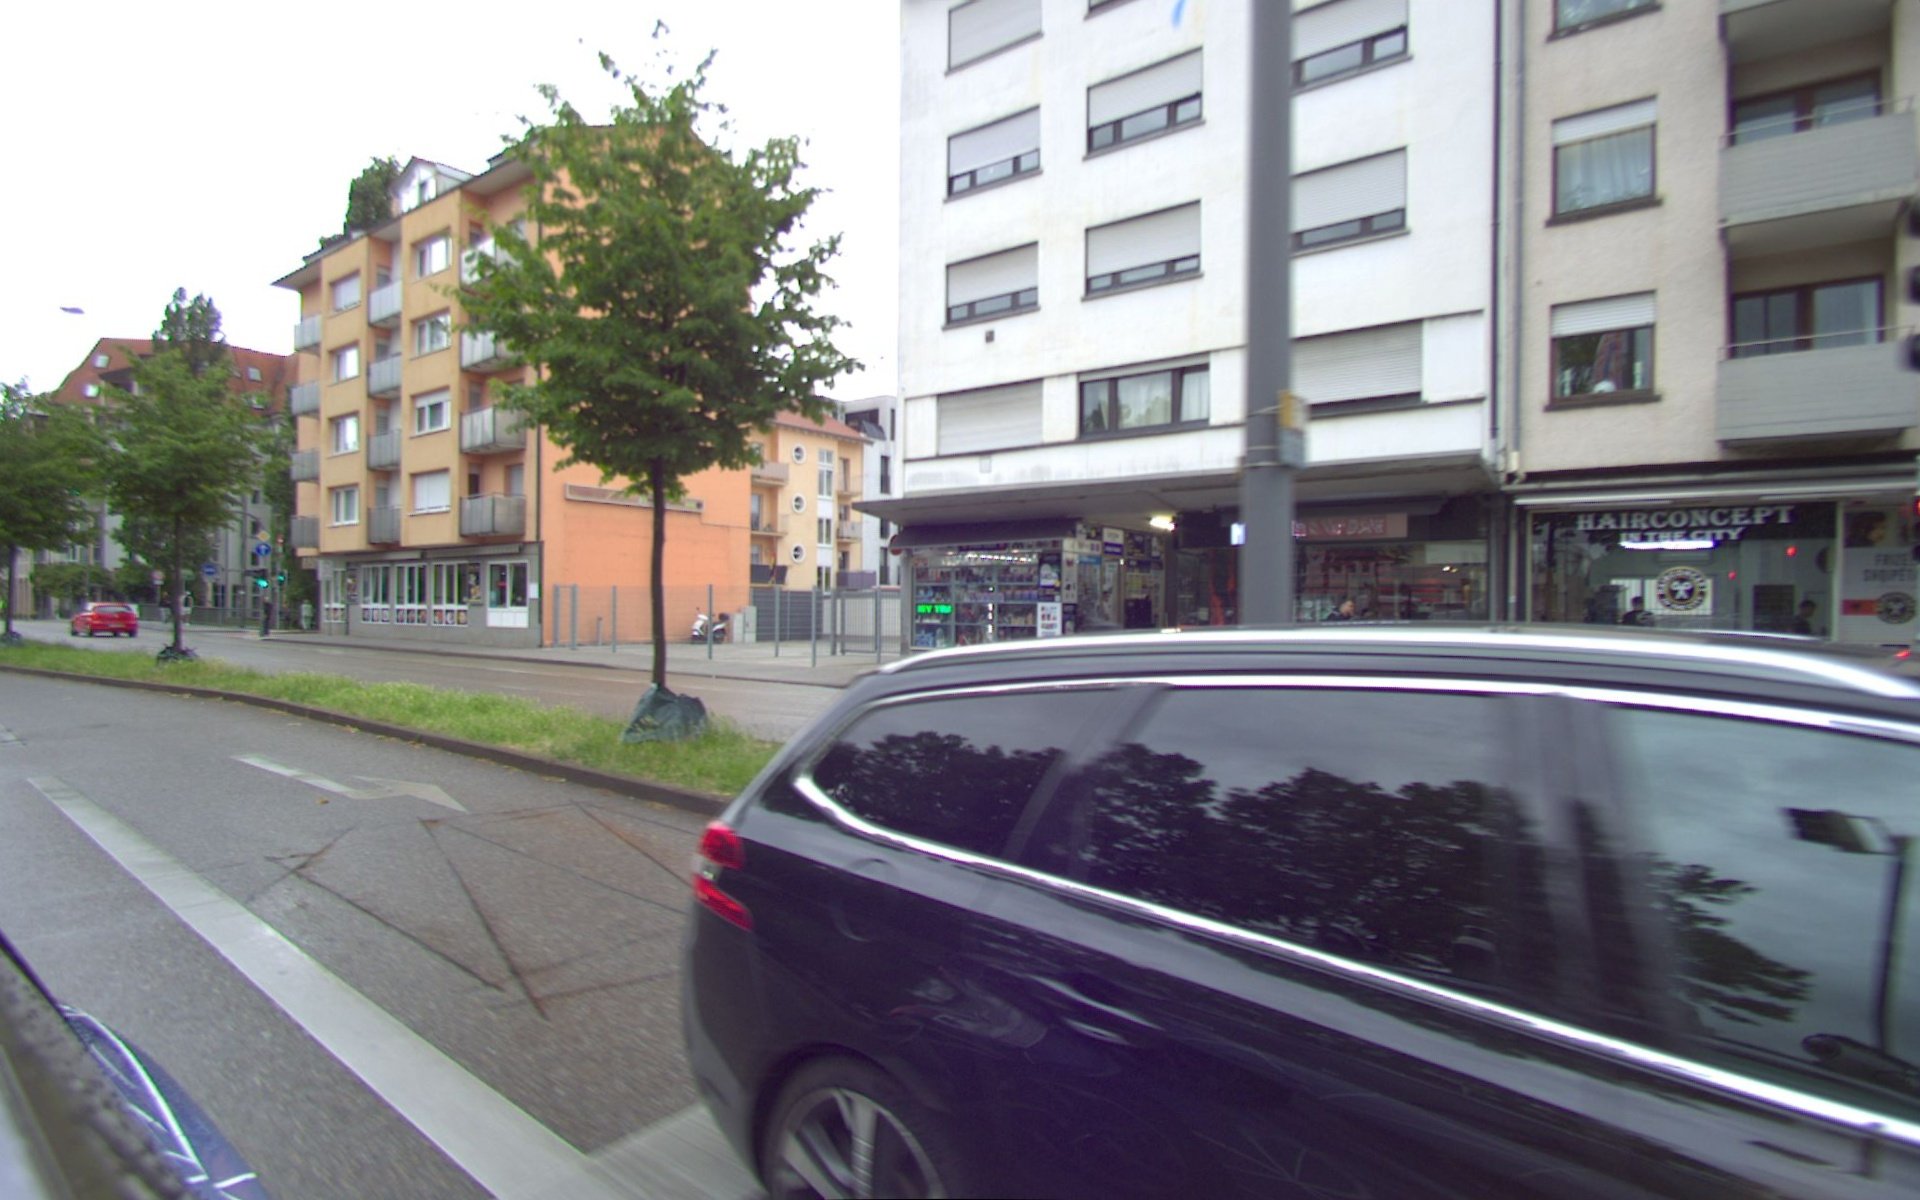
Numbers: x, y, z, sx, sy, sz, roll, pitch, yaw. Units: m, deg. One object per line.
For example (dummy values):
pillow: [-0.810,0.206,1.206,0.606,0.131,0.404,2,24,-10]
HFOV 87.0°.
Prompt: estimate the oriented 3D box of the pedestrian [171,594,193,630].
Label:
pedestrian: [-42.072,0.645,54.733,0.798,1.901,0.737,0,-1,36]

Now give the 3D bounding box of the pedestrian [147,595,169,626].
pedestrian: [-45.151,0.586,56.972,0.798,1.708,0.758,0,-1,36]

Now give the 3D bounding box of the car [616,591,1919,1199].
car: [1.428,0.711,1.596,4.394,1.445,1.780,0,1,41]

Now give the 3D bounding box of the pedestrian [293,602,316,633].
pedestrian: [-34.899,0.918,53.885,0.736,1.661,0.683,0,-1,2]

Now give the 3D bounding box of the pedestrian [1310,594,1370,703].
pedestrian: [6.362,0.792,16.934,0.660,1.742,0.770,-1,2,41]

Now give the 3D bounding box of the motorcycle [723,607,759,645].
motorcycle: [-8.843,1.055,40.971,0.396,1.473,1.449,0,-3,39]

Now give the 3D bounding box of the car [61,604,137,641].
car: [-36.988,0.953,43.447,3.938,1.441,1.588,0,-3,37]

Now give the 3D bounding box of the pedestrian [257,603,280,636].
pedestrian: [-31.391,0.869,45.956,0.604,1.452,0.557,-2,2,19]

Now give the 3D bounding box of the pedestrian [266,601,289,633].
pedestrian: [-36.229,0.888,53.704,0.675,1.703,0.745,0,-1,7]

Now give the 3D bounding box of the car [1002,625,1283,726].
car: [2.834,1.133,16.202,4.146,1.402,1.660,-1,-3,38]
